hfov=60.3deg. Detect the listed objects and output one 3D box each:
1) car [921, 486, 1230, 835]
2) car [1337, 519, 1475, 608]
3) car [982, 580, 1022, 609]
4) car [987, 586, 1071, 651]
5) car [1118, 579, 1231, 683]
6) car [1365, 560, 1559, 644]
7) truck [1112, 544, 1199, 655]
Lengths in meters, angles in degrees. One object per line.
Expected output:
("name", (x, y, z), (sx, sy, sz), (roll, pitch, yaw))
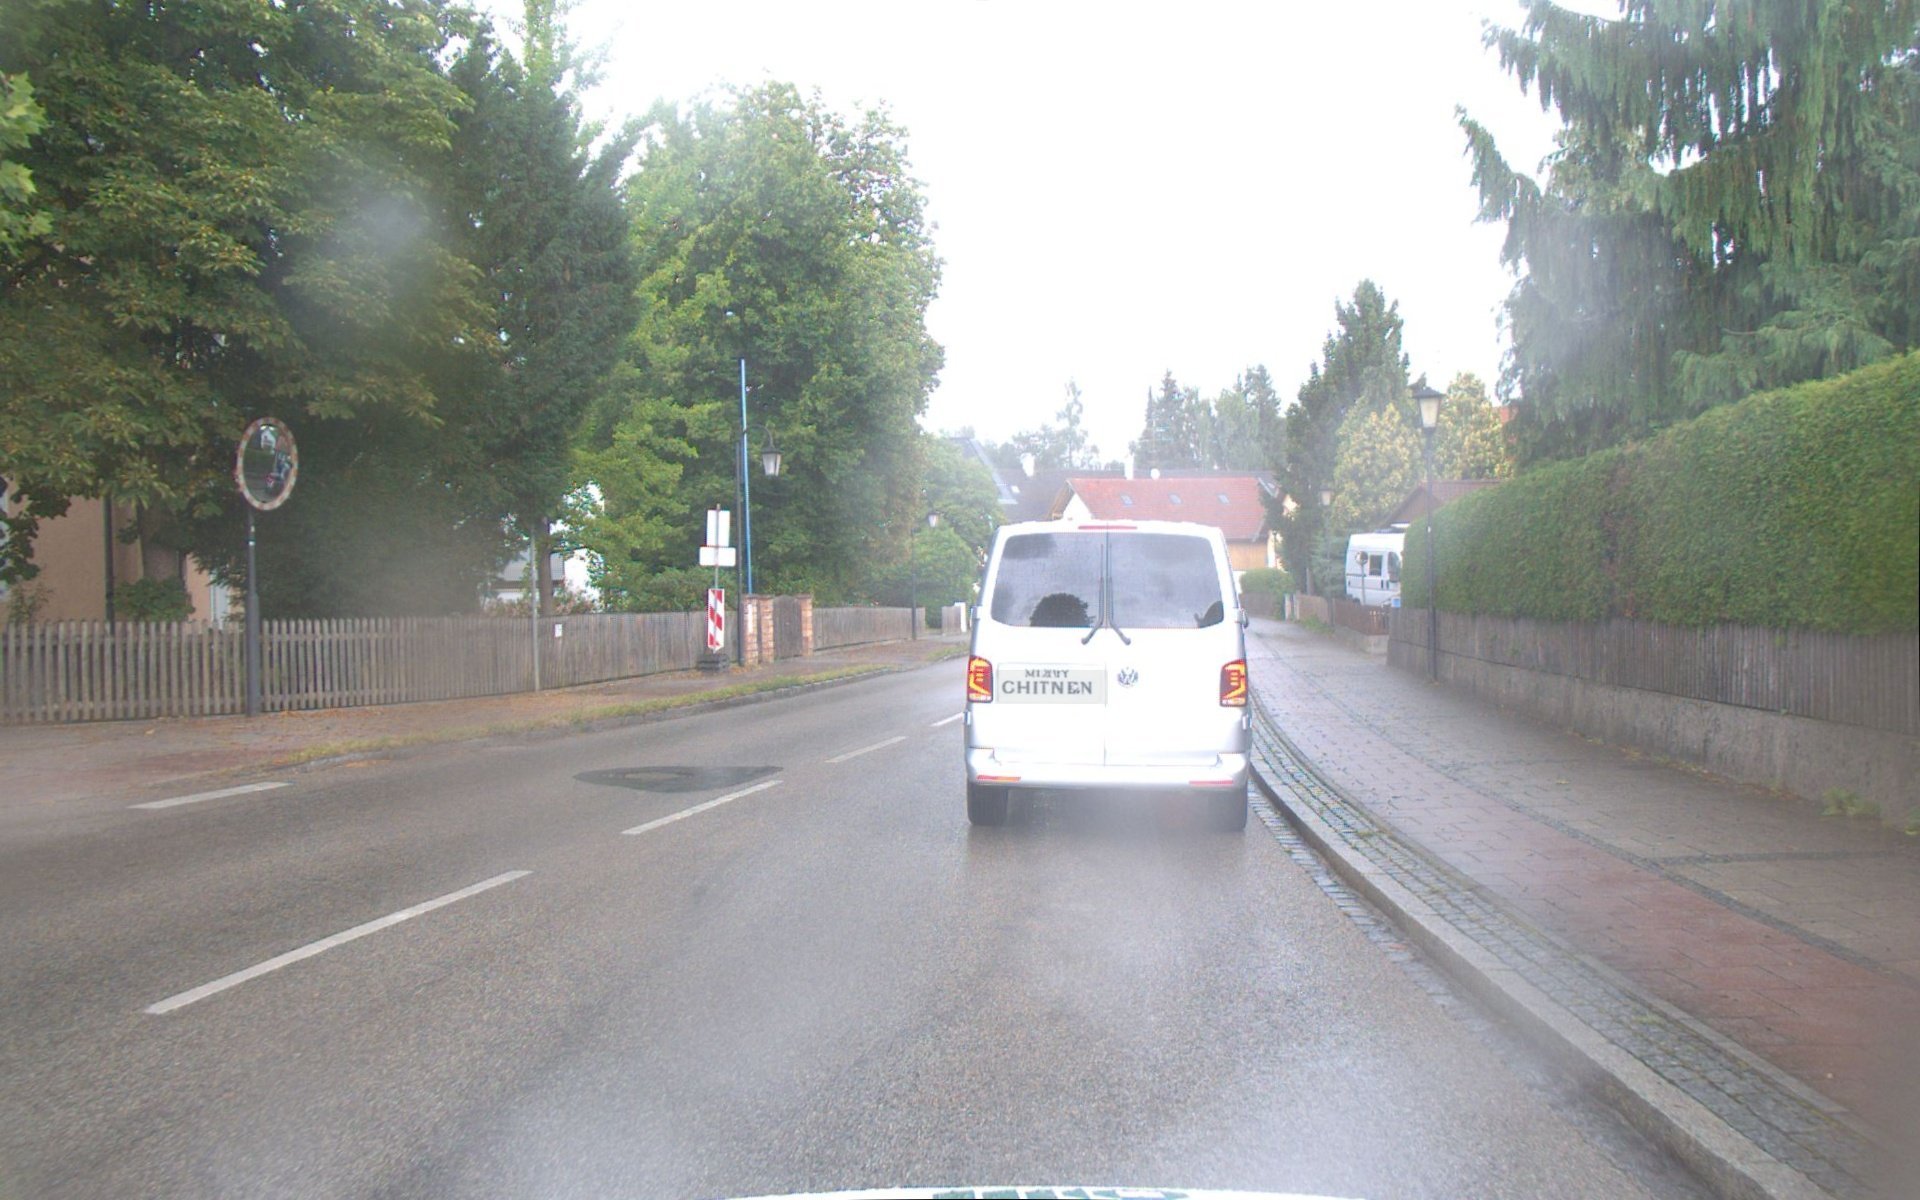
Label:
("car", (1.000, 0.368, 11.860), (1.762, 2.049, 4.003), (1, -1, 10))
("car", (11.743, -0.900, 43.912), (1.955, 2.211, 4.947), (1, 0, -5))
("car", (3.078, -0.359, 121.251), (1.959, 2.049, 3.986), (1, -1, -13))
("car", (1.950, 0.493, 45.379), (1.746, 1.692, 4.450), (0, -1, 9))
("car", (3.660, 0.513, 28.197), (1.762, 1.616, 4.003), (1, 0, 7))
("car", (11.544, 0.039, 38.250), (4.007, 1.782, 1.696), (-1, 2, 4))
("truck", (6.004, 0.009, 50.407), (2.423, 3.128, 6.300), (1, -1, 7))
